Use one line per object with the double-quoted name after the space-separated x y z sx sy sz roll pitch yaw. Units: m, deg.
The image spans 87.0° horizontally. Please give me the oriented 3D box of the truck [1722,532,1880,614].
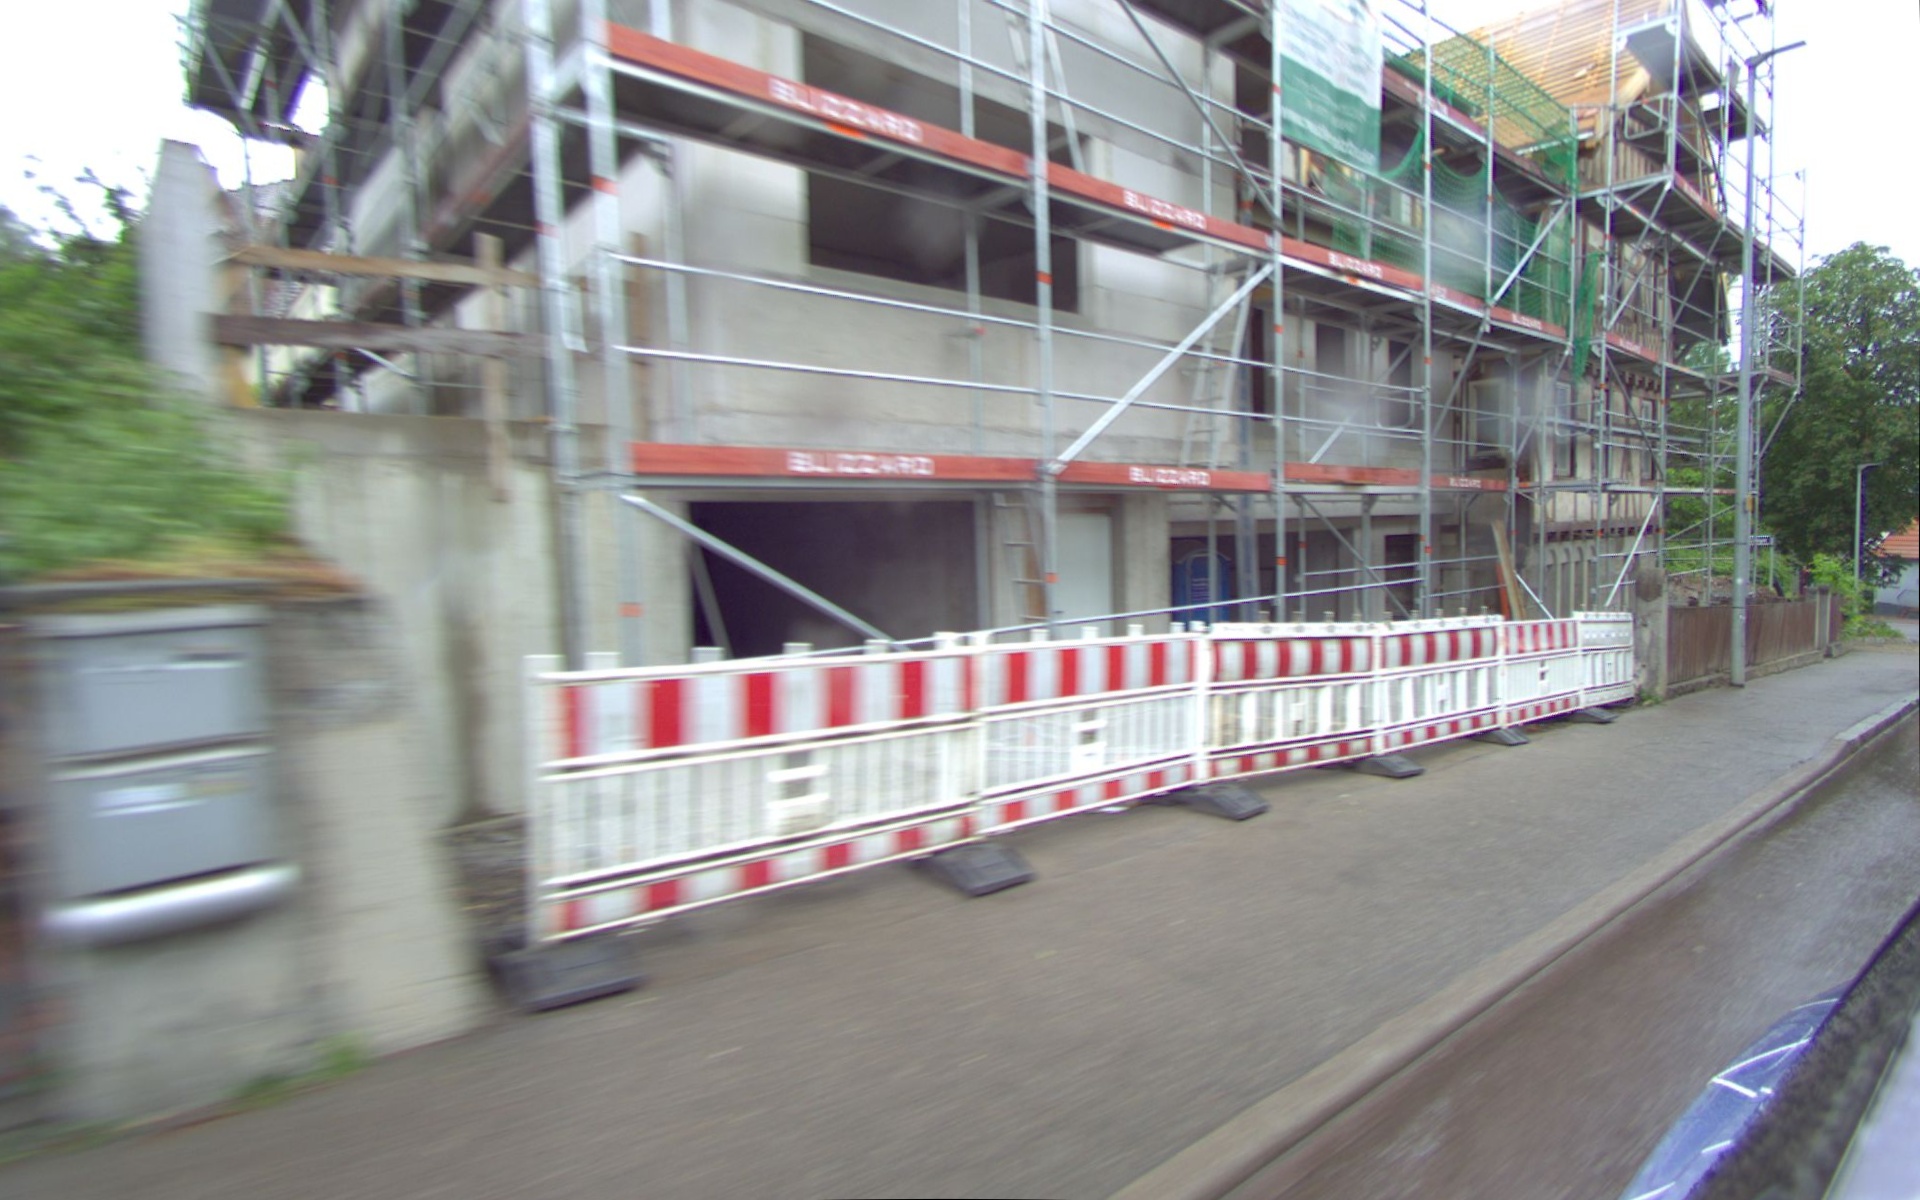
45.241 -1.403 54.951 2.819 4.017 10.372 0 1 18 "truck"
